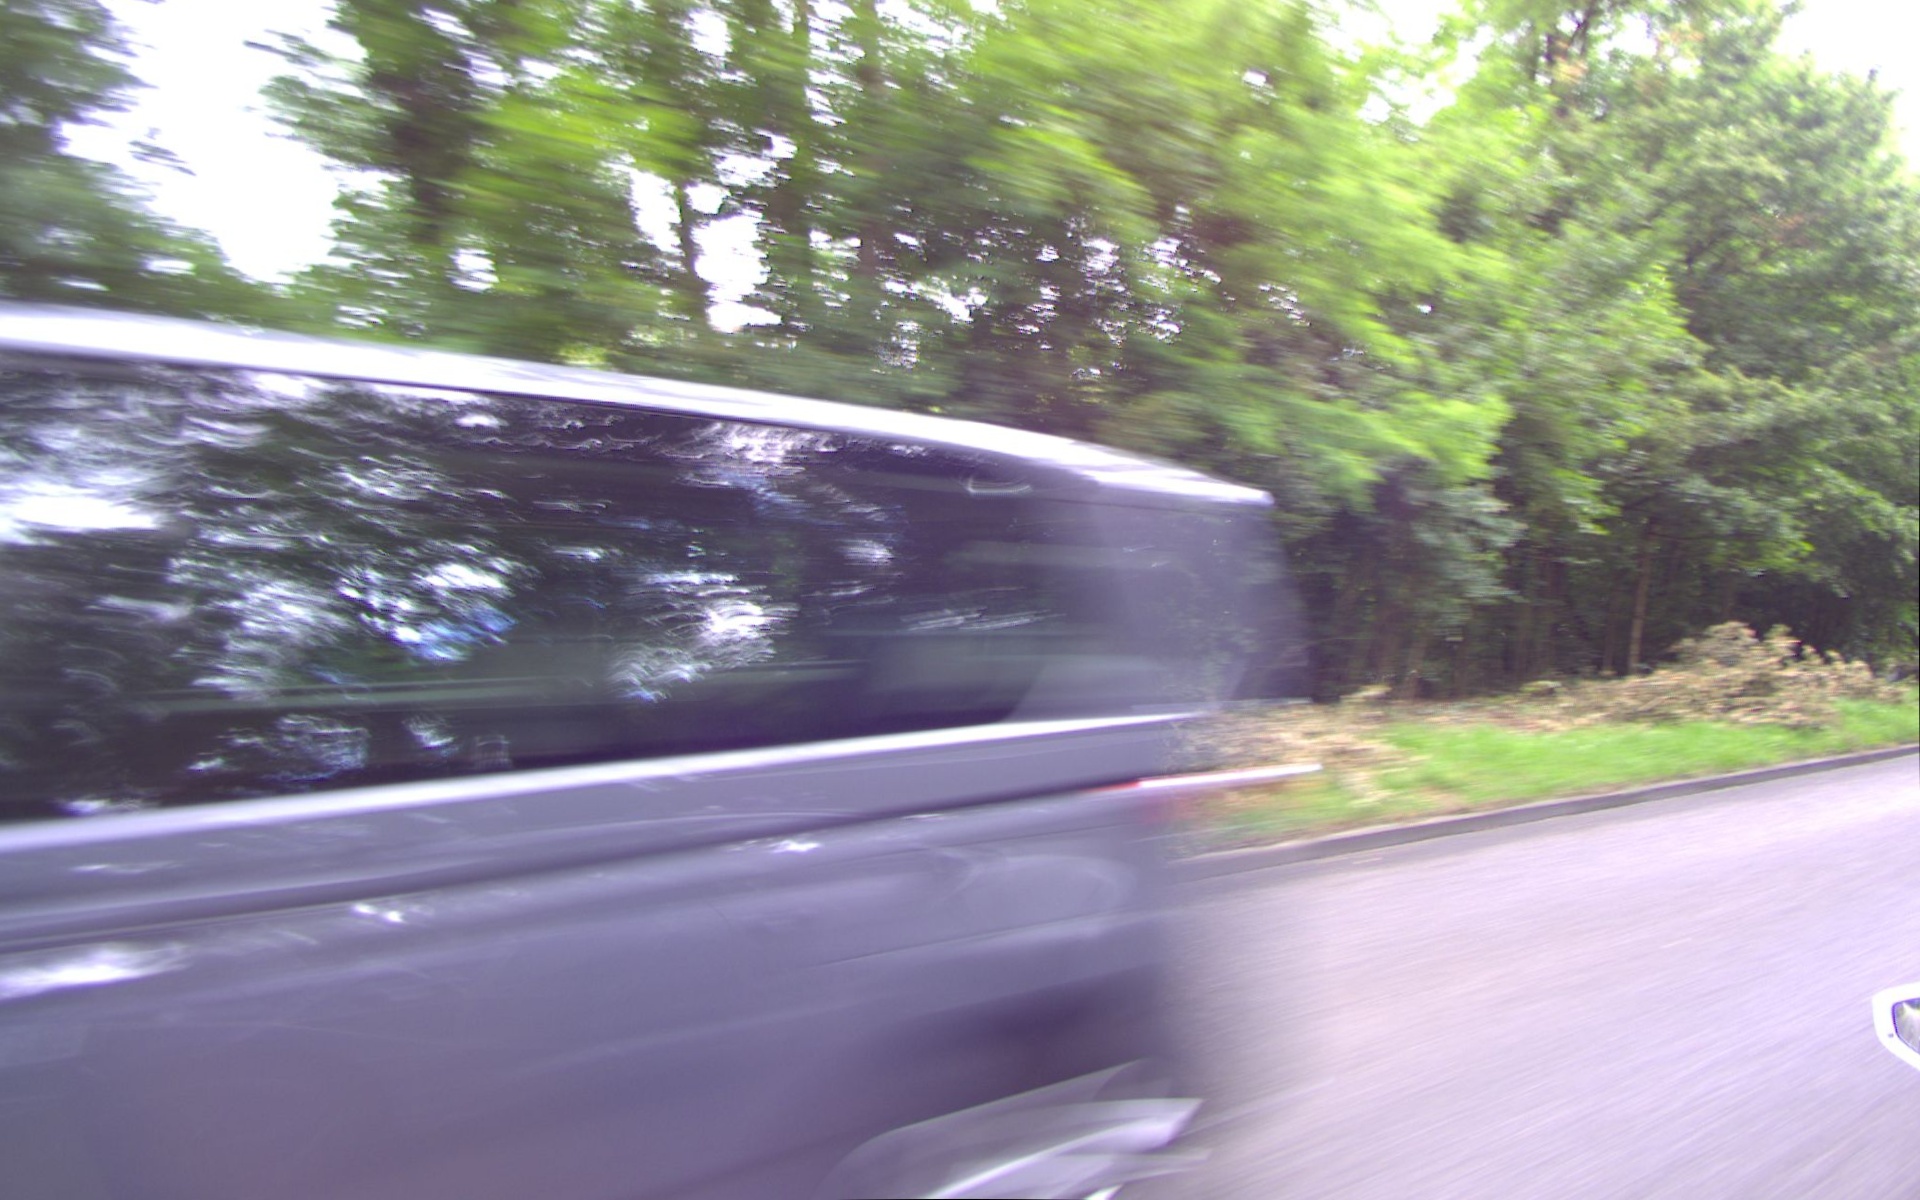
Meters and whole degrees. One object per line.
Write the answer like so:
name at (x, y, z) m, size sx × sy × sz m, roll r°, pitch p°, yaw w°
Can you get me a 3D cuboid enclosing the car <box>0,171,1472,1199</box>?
car at (-1.433, 0.528, 1.952) m, size 4.888 × 1.974 × 1.984 m, roll 2°, pitch 0°, yaw -30°
